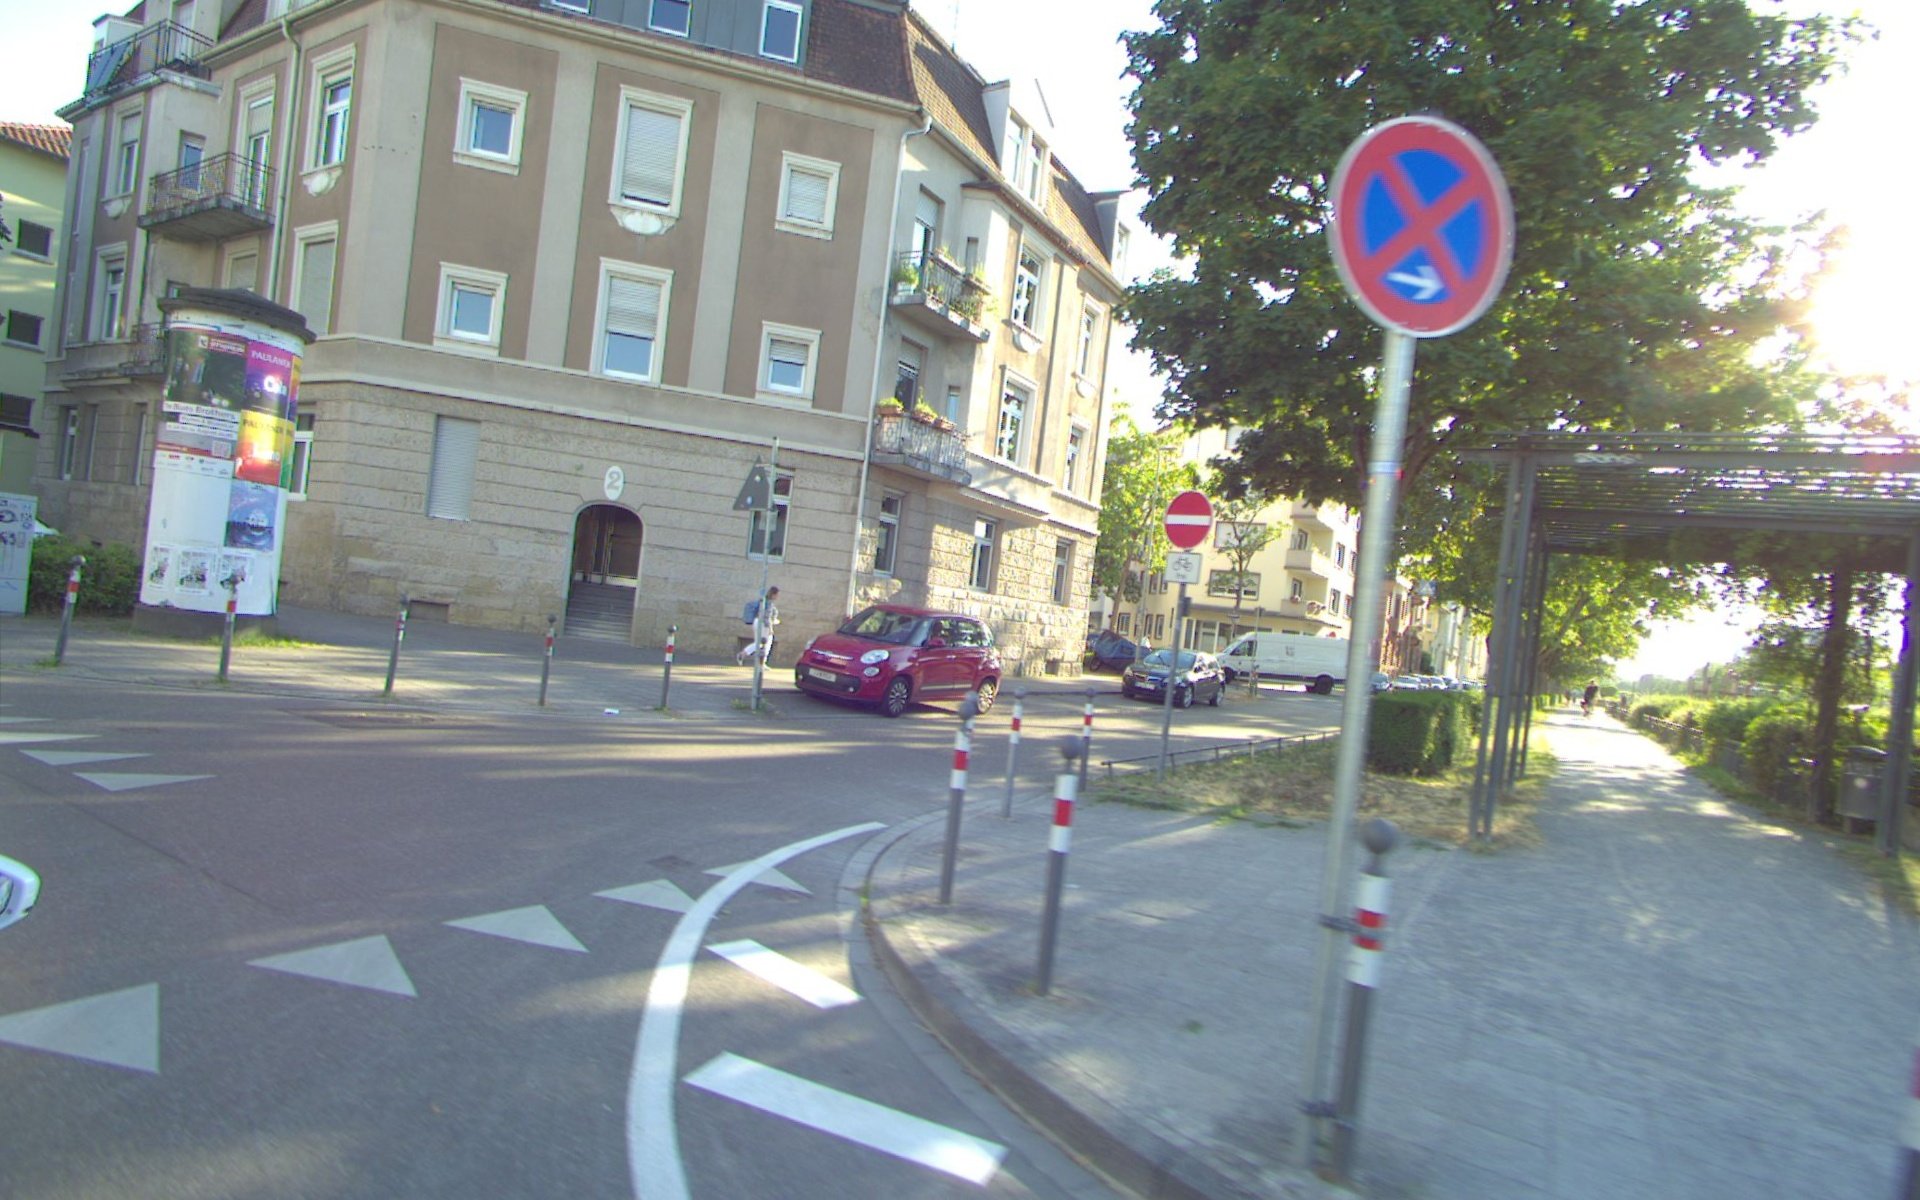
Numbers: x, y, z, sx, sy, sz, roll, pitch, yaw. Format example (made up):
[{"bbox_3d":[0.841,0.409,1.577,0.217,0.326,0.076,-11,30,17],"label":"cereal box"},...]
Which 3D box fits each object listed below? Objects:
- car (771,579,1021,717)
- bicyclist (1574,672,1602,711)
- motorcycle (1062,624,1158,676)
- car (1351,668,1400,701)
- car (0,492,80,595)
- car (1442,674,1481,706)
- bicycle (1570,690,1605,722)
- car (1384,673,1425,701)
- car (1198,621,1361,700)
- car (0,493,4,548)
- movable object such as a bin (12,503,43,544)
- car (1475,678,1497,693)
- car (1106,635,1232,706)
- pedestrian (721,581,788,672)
[{"bbox_3d":[-0.901,0.842,16.433,1.782,1.762,4.078,9,0,33],"label":"car"},{"bbox_3d":[28.580,4.155,45.787,0.846,1.667,0.864,7,0,25],"label":"bicyclist"},{"bbox_3d":[5.357,1.798,36.066,3.171,1.505,0.853,6,-1,21],"label":"motorcycle"},{"bbox_3d":[23.234,4.728,56.158,1.800,1.534,3.747,6,-1,32],"label":"car"},{"bbox_3d":[-16.202,-1.065,15.112,1.831,1.524,4.053,7,0,31],"label":"car"},{"bbox_3d":[30.744,5.512,61.578,1.752,1.659,3.735,7,-1,31],"label":"car"},{"bbox_3d":[28.376,4.767,45.520,0.872,1.236,3.107,7,-1,25],"label":"bicycle"},{"bbox_3d":[28.585,5.599,64.644,1.800,1.534,3.747,6,-1,32],"label":"car"},{"bbox_3d":[14.643,2.748,46.427,6.563,2.778,2.319,7,0,3],"label":"car"},{"bbox_3d":[-20.045,-1.488,17.844,1.645,1.466,4.147,7,0,31],"label":"car"},{"bbox_3d":[-27.008,-2.211,29.131,0.524,1.099,0.456,5,-1,33],"label":"movable object such as a bin"},{"bbox_3d":[64.398,10.503,123.087,1.802,1.534,3.744,6,-1,35],"label":"car"},{"bbox_3d":[5.711,1.928,27.112,1.782,1.552,4.078,8,0,33],"label":"car"},{"bbox_3d":[-3.841,0.493,18.788,0.815,1.564,0.733,6,2,-41],"label":"pedestrian"}]
